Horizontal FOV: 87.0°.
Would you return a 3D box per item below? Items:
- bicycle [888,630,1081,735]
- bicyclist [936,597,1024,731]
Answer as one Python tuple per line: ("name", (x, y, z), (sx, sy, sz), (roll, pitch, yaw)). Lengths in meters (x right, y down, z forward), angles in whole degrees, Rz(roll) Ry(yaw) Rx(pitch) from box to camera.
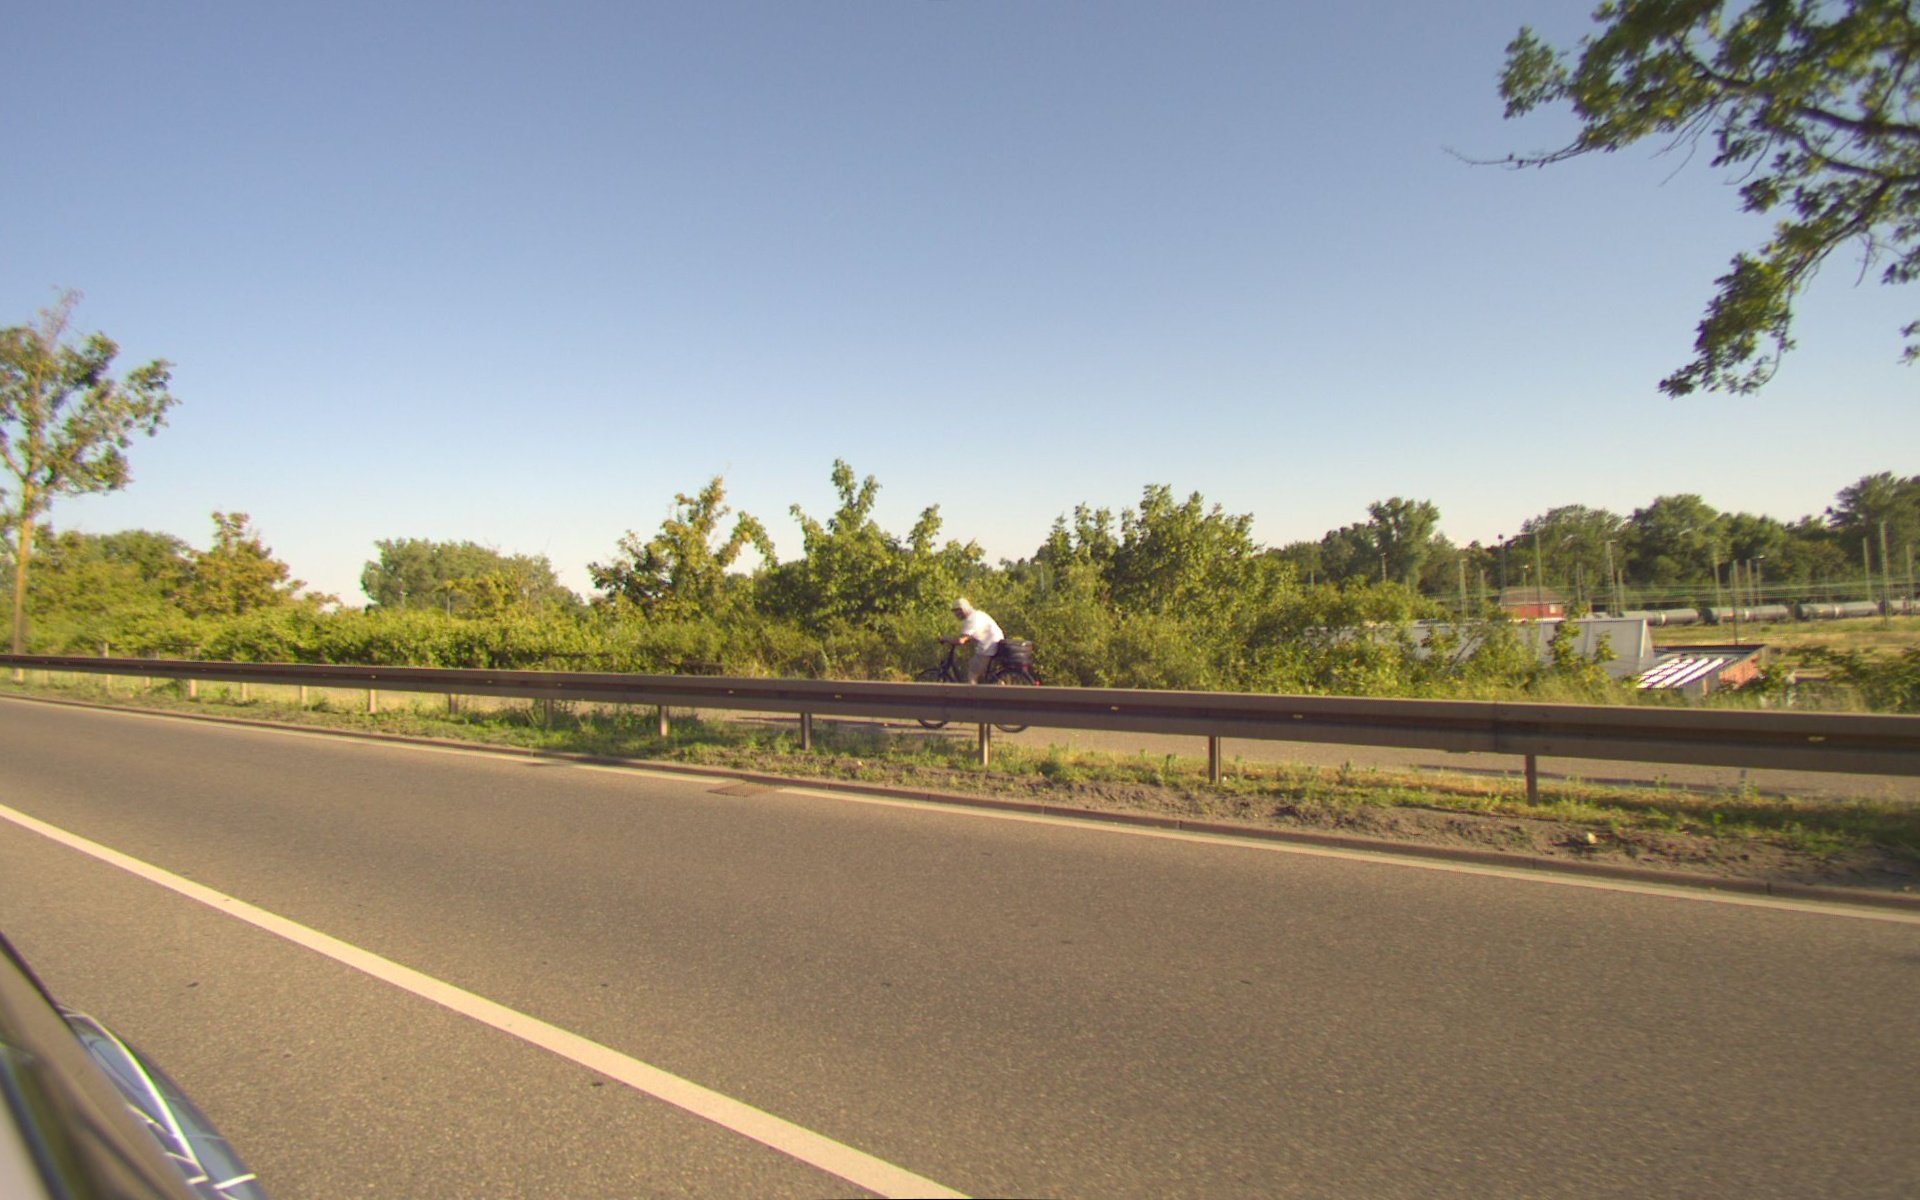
("bicycle", (0.238, 0.901, 11.587), (2.308, 1.085, 0.577), (-1, -2, 36))
("bicyclist", (0.231, 0.712, 11.616), (0.827, 1.470, 0.594), (-1, -2, 36))
